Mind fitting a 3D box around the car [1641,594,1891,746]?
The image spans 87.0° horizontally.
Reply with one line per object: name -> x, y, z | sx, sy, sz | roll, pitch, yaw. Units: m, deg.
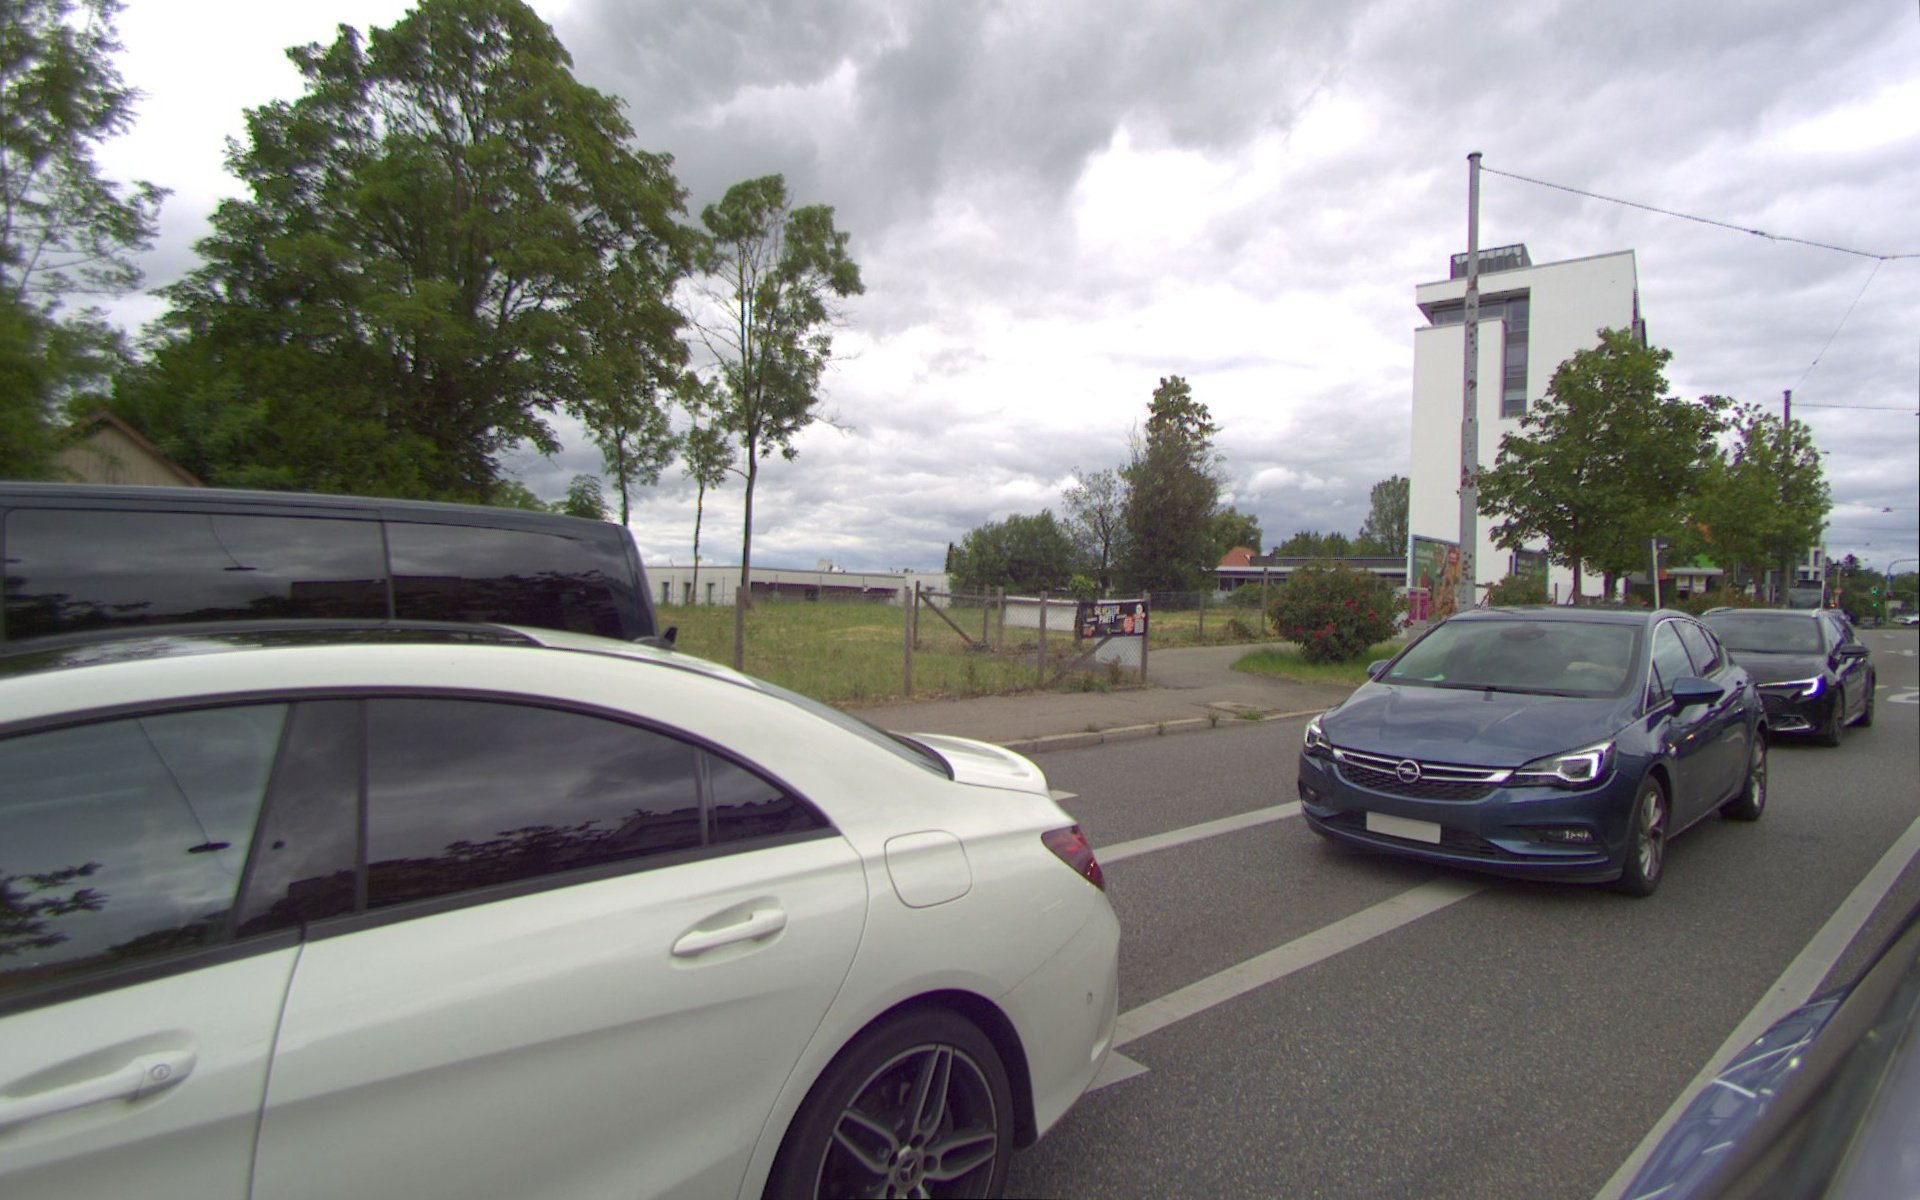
car -> 9.460, 0.675, 11.773 | 3.854, 1.475, 1.663 | 0, 0, -42

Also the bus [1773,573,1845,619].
bus -> 53.955, -0.308, 64.572 | 2.952, 2.664, 11.986 | 0, 1, 37

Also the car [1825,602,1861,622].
car -> 74.019, 1.021, 84.840 | 1.840, 1.637, 3.735 | -1, -1, 35

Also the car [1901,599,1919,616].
car -> 100.356, 0.809, 106.196 | 3.930, 1.705, 1.997 | -1, 0, -41

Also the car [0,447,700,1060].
car -> -3.557, 0.470, 3.821 | 4.627, 1.863, 1.952 | 0, -1, -41

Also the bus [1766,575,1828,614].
bus -> 61.422, -0.442, 74.472 | 2.952, 2.664, 12.751 | 0, 1, 37

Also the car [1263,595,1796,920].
car -> 3.812, 0.690, 6.479 | 3.931, 1.428, 1.825 | 0, 0, -42

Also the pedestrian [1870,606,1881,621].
pedestrian -> 121.575, 1.766, 134.336 | 0.969, 2.039, 0.979 | 0, 0, 36

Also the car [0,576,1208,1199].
car -> -1.536, 0.694, 1.812 | 4.300, 1.451, 1.652 | 0, 1, -41

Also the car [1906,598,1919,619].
car -> 89.853, 0.787, 92.814 | 4.083, 1.910, 1.841 | -1, -1, 19
